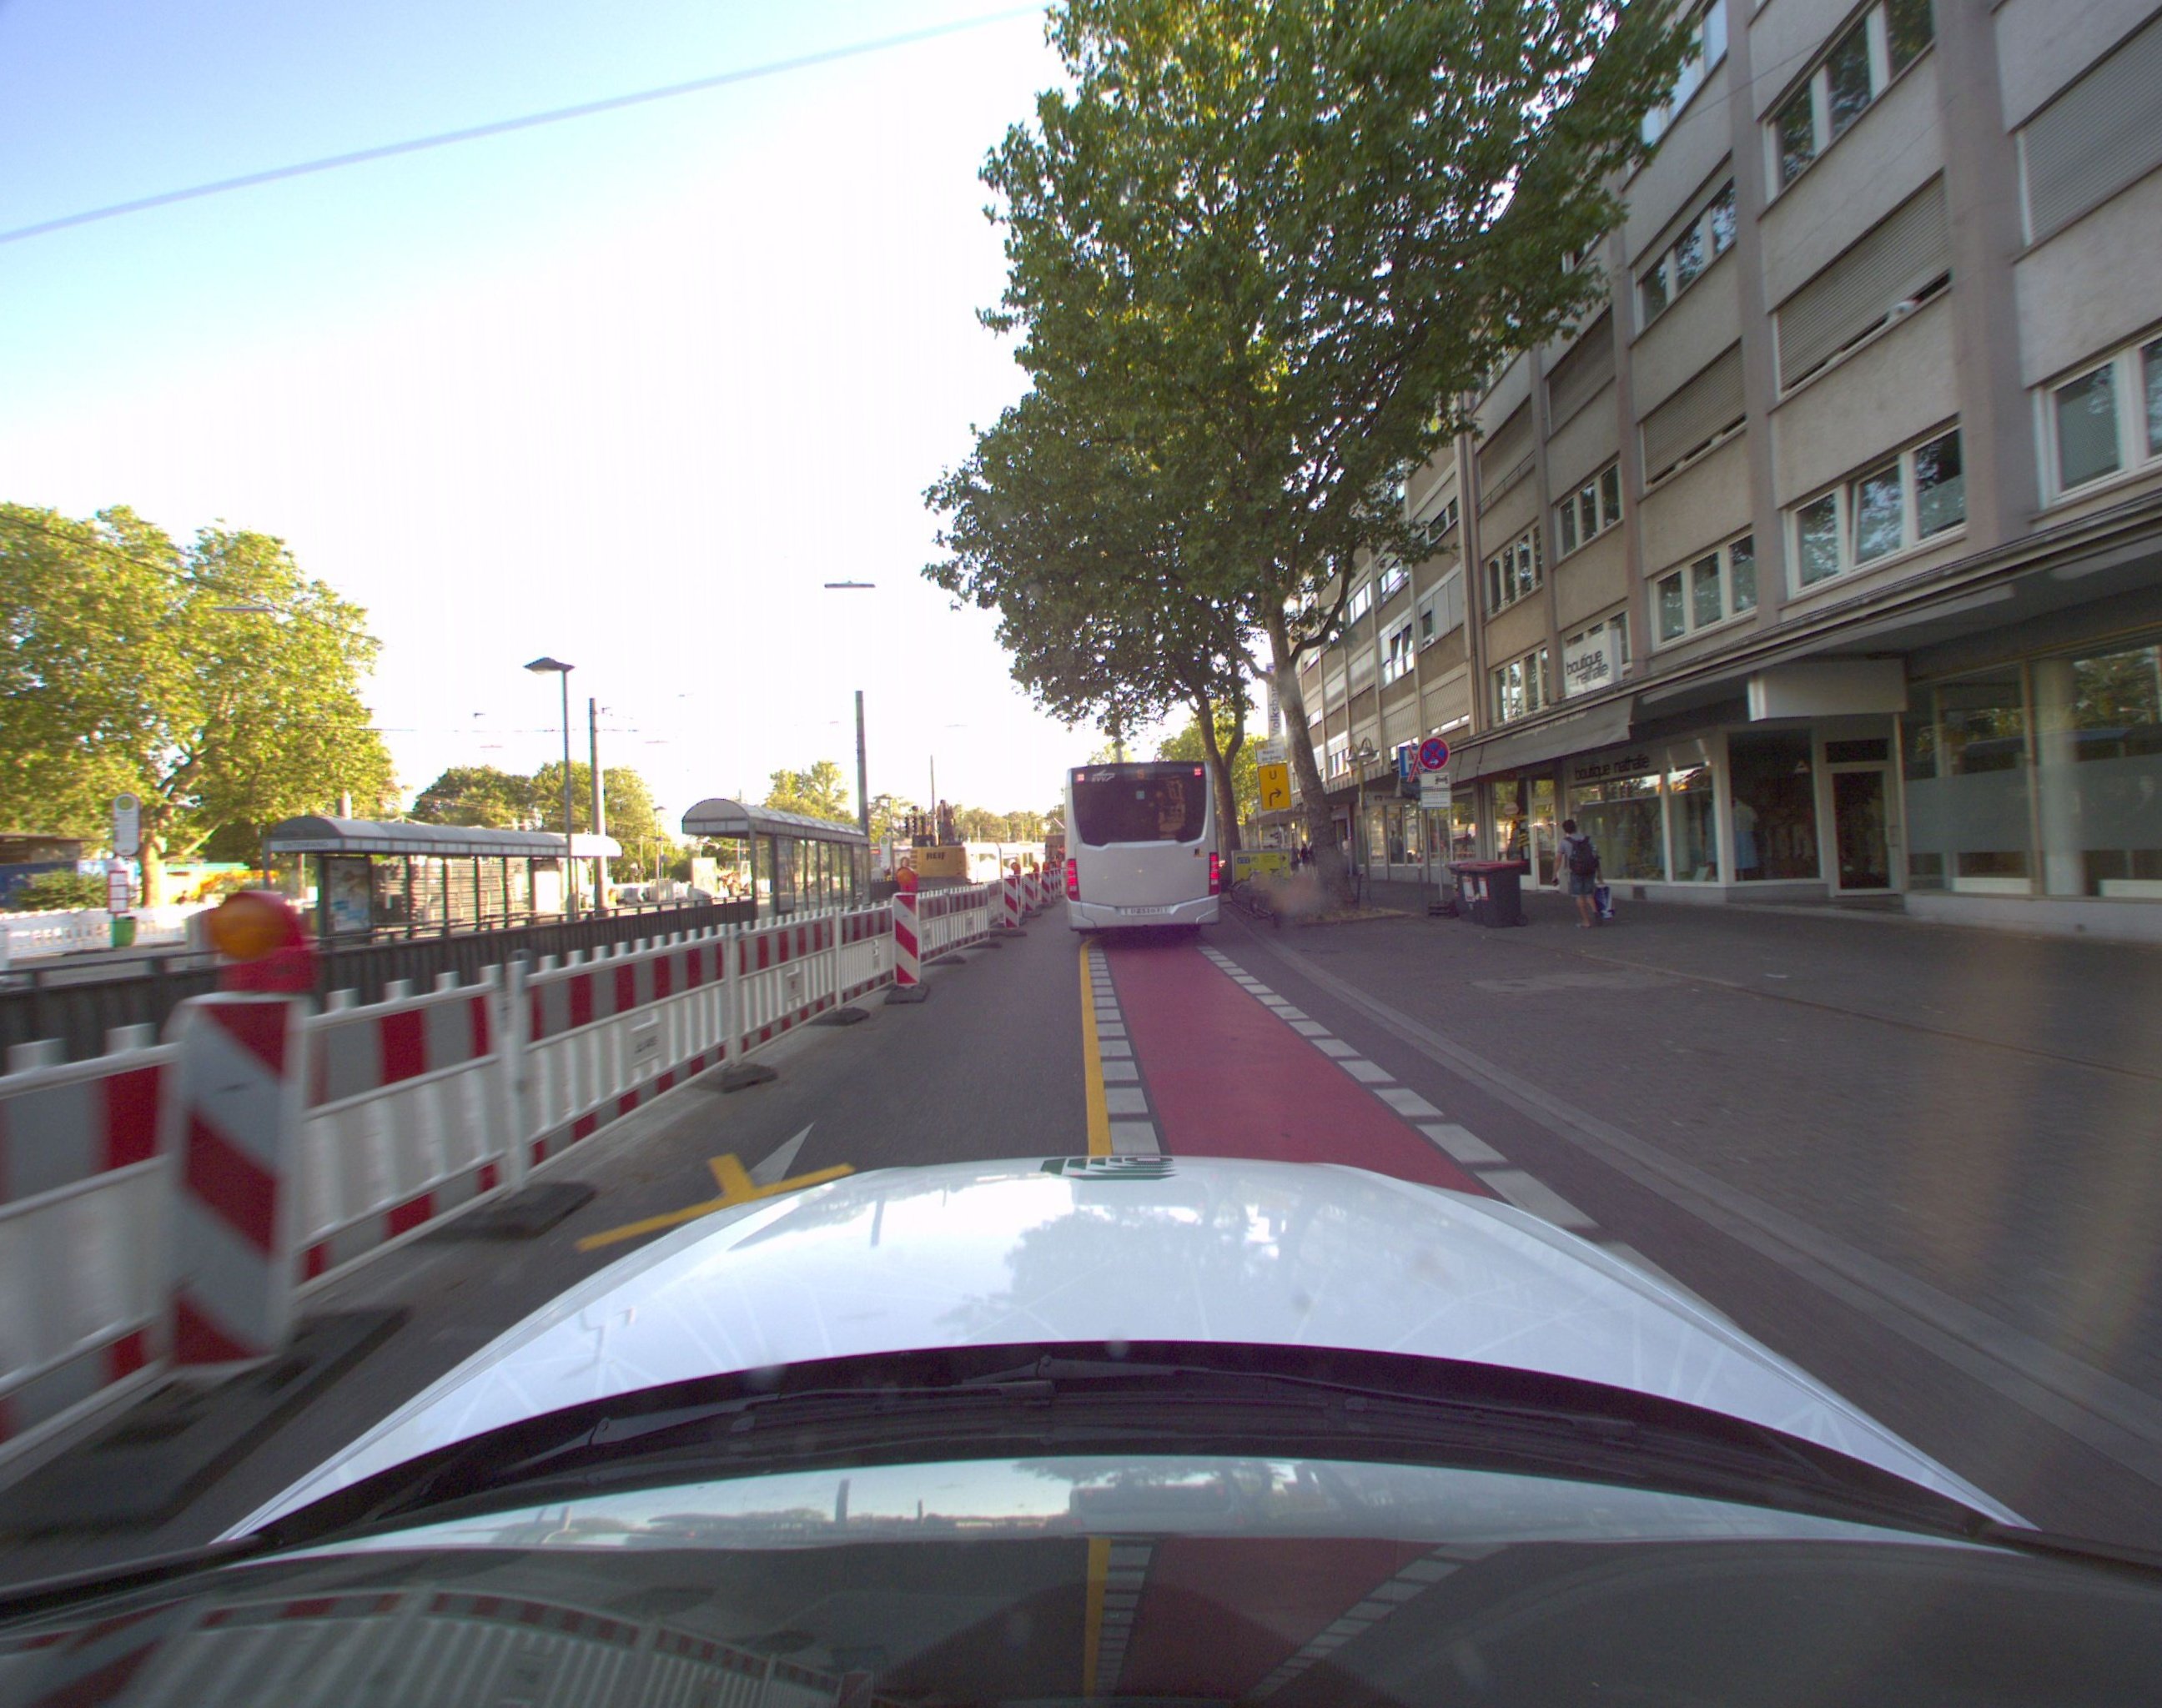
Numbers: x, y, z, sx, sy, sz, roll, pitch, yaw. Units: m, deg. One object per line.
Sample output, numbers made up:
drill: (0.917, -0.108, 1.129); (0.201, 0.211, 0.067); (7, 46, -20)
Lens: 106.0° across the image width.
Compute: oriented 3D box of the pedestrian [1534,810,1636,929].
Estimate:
pedestrian: (7.631, 0.226, 12.388); (0.840, 1.673, 0.990); (-4, -1, 1)

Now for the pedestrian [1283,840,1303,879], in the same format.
pedestrian: (9.565, 0.242, 36.764); (0.581, 1.708, 0.679); (-5, -1, 1)

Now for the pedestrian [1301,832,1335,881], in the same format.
pedestrian: (9.605, 0.106, 33.049); (0.835, 1.869, 1.100); (-7, -1, 1)

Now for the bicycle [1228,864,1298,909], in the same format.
bicycle: (4.905, 0.868, 21.981); (1.706, 1.058, 0.644); (-4, -1, 2)

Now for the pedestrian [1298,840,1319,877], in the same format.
pedestrian: (10.255, 0.202, 36.729); (0.630, 1.573, 0.774); (-5, 0, 1)

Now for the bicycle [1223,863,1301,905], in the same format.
bicycle: (5.179, 0.842, 23.380); (1.982, 1.058, 0.770); (-4, -1, -2)

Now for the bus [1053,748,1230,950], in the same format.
bus: (1.030, -0.059, 18.306); (2.724, 3.139, 10.703); (-2, 0, 1)

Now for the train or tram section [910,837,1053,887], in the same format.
train or tram section: (-7.487, 0.580, 64.660); (2.822, 3.533, 13.482); (-3, -1, 35)

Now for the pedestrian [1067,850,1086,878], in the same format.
pedestrian: (-0.303, 0.676, 53.898); (0.964, 1.798, 1.075); (-1, 0, 19)

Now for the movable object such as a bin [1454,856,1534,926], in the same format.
movable object such as a bin: (6.908, 0.599, 13.679); (0.671, 1.075, 1.228); (-5, -1, 2)

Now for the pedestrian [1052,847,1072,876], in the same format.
pedestrian: (-1.358, 0.521, 57.676); (0.927, 2.013, 1.007); (-2, 1, 26)

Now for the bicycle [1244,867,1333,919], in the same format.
bicycle: (4.670, 0.867, 18.402); (1.784, 1.022, 0.643); (-4, -1, -2)

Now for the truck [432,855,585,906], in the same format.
truck: (-48.309, 2.226, 68.943); (10.383, 3.790, 2.895); (-2, -1, -5)

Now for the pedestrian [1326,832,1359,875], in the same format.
pedestrian: (11.191, -0.009, 34.878); (0.896, 1.697, 1.071); (-8, -1, 2)

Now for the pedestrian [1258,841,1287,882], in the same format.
pedestrian: (8.495, 0.333, 36.169); (0.896, 1.710, 1.071); (-6, -1, 1)

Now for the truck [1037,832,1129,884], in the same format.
truck: (0.339, 0.246, 60.924); (2.785, 3.541, 9.038); (-3, -1, 28)

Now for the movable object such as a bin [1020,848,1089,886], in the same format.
movable object such as a bin: (-1.625, 0.777, 51.548); (1.975, 2.256, 5.239); (-1, 0, 28)

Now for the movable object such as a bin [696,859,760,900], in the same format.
movable object such as a bin: (-24.616, 1.725, 56.964); (2.142, 2.639, 4.603); (-3, -1, 3)

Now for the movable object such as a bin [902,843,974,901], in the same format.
movable object such as a bin: (-6.326, 0.779, 36.576); (2.638, 2.318, 4.894); (-2, 0, -4)

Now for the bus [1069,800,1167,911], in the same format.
bus: (1.135, 0.069, 28.087); (2.699, 3.107, 8.980); (-2, -1, 1)
